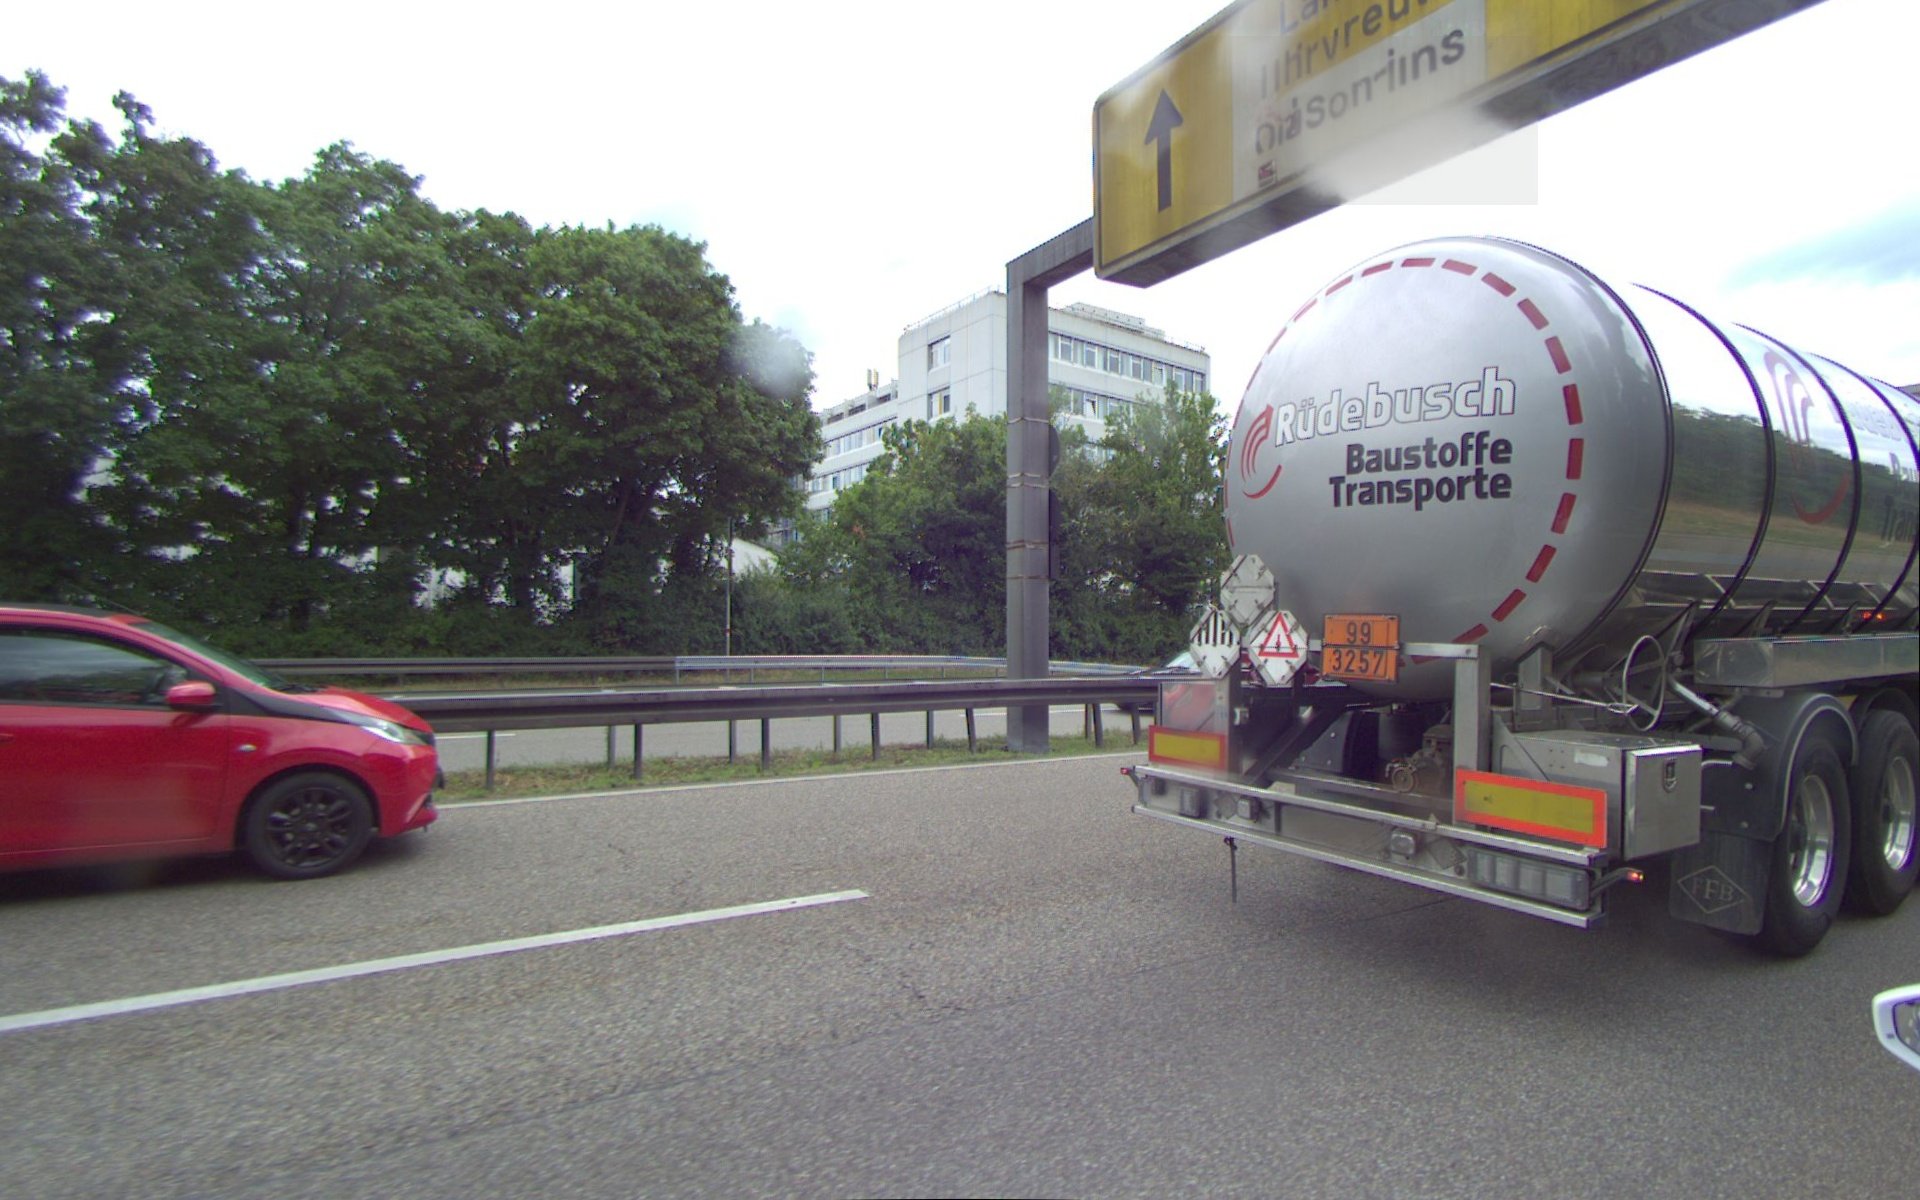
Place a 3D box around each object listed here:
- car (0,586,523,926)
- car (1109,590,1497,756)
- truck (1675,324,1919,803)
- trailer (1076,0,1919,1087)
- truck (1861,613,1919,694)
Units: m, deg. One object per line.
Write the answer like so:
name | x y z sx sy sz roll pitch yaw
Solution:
car | -4.655 0.734 5.355 4.046 1.544 1.618 2 -2 -33
car | 3.876 0.749 11.103 4.418 1.517 1.667 2 -2 -32
truck | 10.541 -0.212 10.568 6.863 3.958 2.667 2 -2 -34
trailer | 5.862 -0.300 7.321 10.872 3.958 2.667 2 -2 -34
truck | 25.759 1.402 26.566 3.959 2.040 1.981 2 -2 -34
